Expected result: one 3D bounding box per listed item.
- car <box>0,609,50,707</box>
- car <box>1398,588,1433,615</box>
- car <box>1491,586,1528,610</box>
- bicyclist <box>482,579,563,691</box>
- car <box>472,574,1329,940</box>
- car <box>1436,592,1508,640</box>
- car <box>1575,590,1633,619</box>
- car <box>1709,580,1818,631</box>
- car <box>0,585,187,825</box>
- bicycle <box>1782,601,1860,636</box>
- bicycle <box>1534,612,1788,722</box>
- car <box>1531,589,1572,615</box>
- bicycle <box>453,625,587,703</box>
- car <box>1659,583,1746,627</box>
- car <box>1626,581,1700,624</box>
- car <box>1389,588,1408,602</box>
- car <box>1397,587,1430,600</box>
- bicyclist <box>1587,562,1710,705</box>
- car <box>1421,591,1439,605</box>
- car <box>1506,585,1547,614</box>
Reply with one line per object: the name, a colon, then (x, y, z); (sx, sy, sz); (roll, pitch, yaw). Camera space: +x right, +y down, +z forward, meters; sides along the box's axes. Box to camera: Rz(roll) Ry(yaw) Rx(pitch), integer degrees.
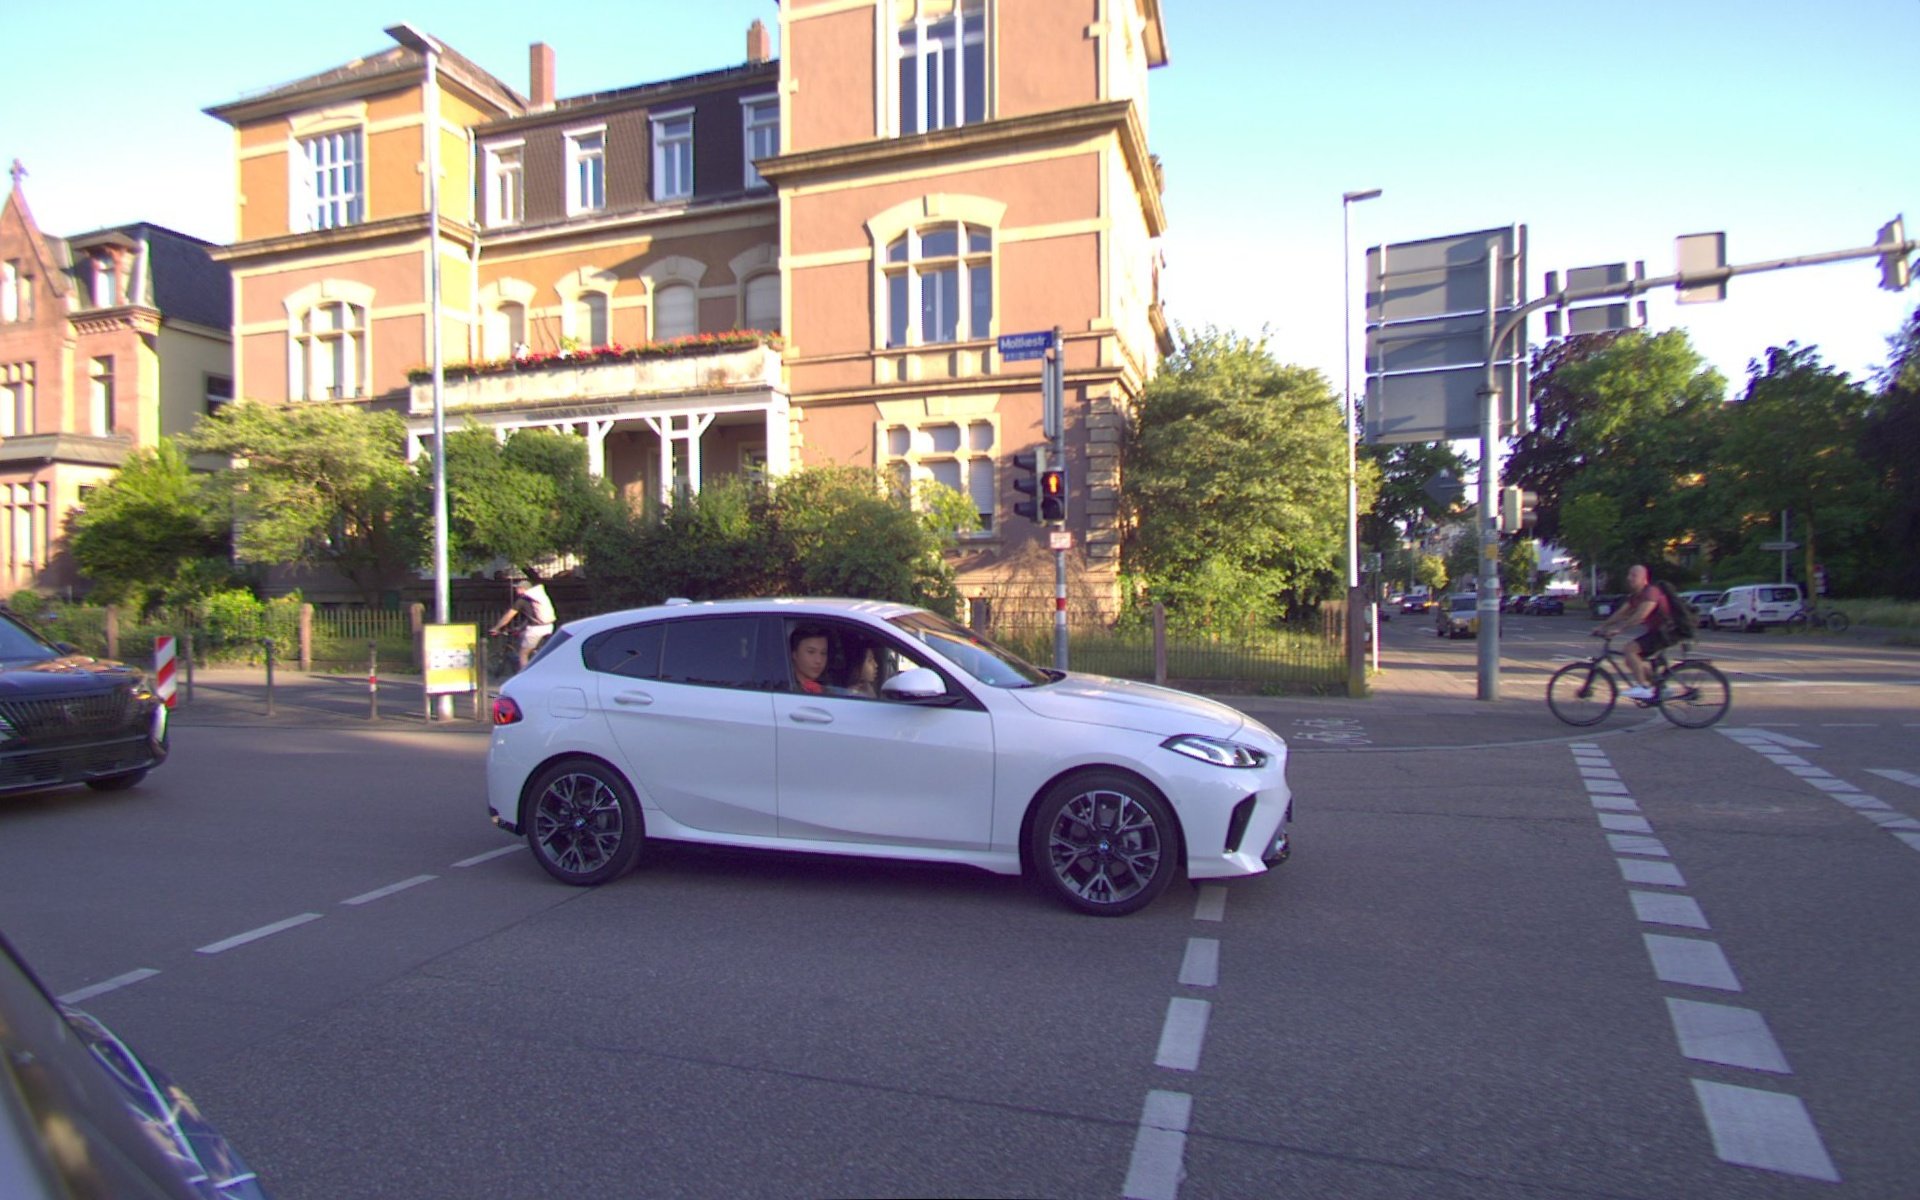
car: (-16.902, 0.927, 16.400); (3.695, 1.546, 1.622); (-1, -3, 20)
car: (34.015, 0.103, 75.631); (1.984, 1.829, 3.976); (0, 2, 19)
car: (44.686, -0.178, 82.378); (1.984, 1.829, 3.976); (0, 2, 19)
bicyclist: (-6.599, 0.509, 15.279); (0.907, 1.645, 0.649); (0, 2, 18)
car: (-0.295, 0.655, 5.504); (4.150, 1.477, 1.749); (-1, 0, 16)
car: (17.961, 0.530, 35.636); (1.677, 1.521, 3.677); (-3, -1, 19)
car: (37.390, 0.256, 58.873); (1.923, 1.655, 3.974); (-1, 0, 19)
car: (30.738, 0.205, 38.867); (1.847, 1.859, 4.098); (-1, 0, 17)
car: (-7.999, 0.698, 7.486); (3.966, 1.547, 1.674); (-1, 0, 18)
bicycle: (29.617, 0.632, 34.842); (1.865, 1.165, 0.747); (0, 2, 23)
bicycle: (7.657, 0.732, 11.177); (2.151, 1.131, 0.684); (-2, -1, 19)
car: (41.765, 0.122, 71.531); (1.786, 1.741, 3.975); (-1, 1, 19)
bicycle: (-6.653, 0.942, 15.313); (1.888, 1.097, 0.656); (0, 2, 19)
car: (32.669, 0.208, 44.661); (1.847, 1.859, 4.163); (-1, 0, 18)
car: (34.180, 0.123, 49.291); (1.923, 2.029, 3.974); (-1, 0, 19)
car: (55.357, -0.652, 127.770); (1.986, 1.696, 3.973); (0, 2, 21)
car: (59.367, -0.872, 132.518); (3.731, 1.630, 1.810); (-1, 0, 21)
bicyclist: (7.591, 0.359, 11.204); (0.948, 1.523, 0.681); (-1, 0, 18)
car: (59.219, -0.202, 127.522); (1.664, 1.741, 3.613); (-1, 0, 19)
car: (42.745, -0.053, 76.422); (1.984, 2.028, 3.976); (0, 2, 18)
